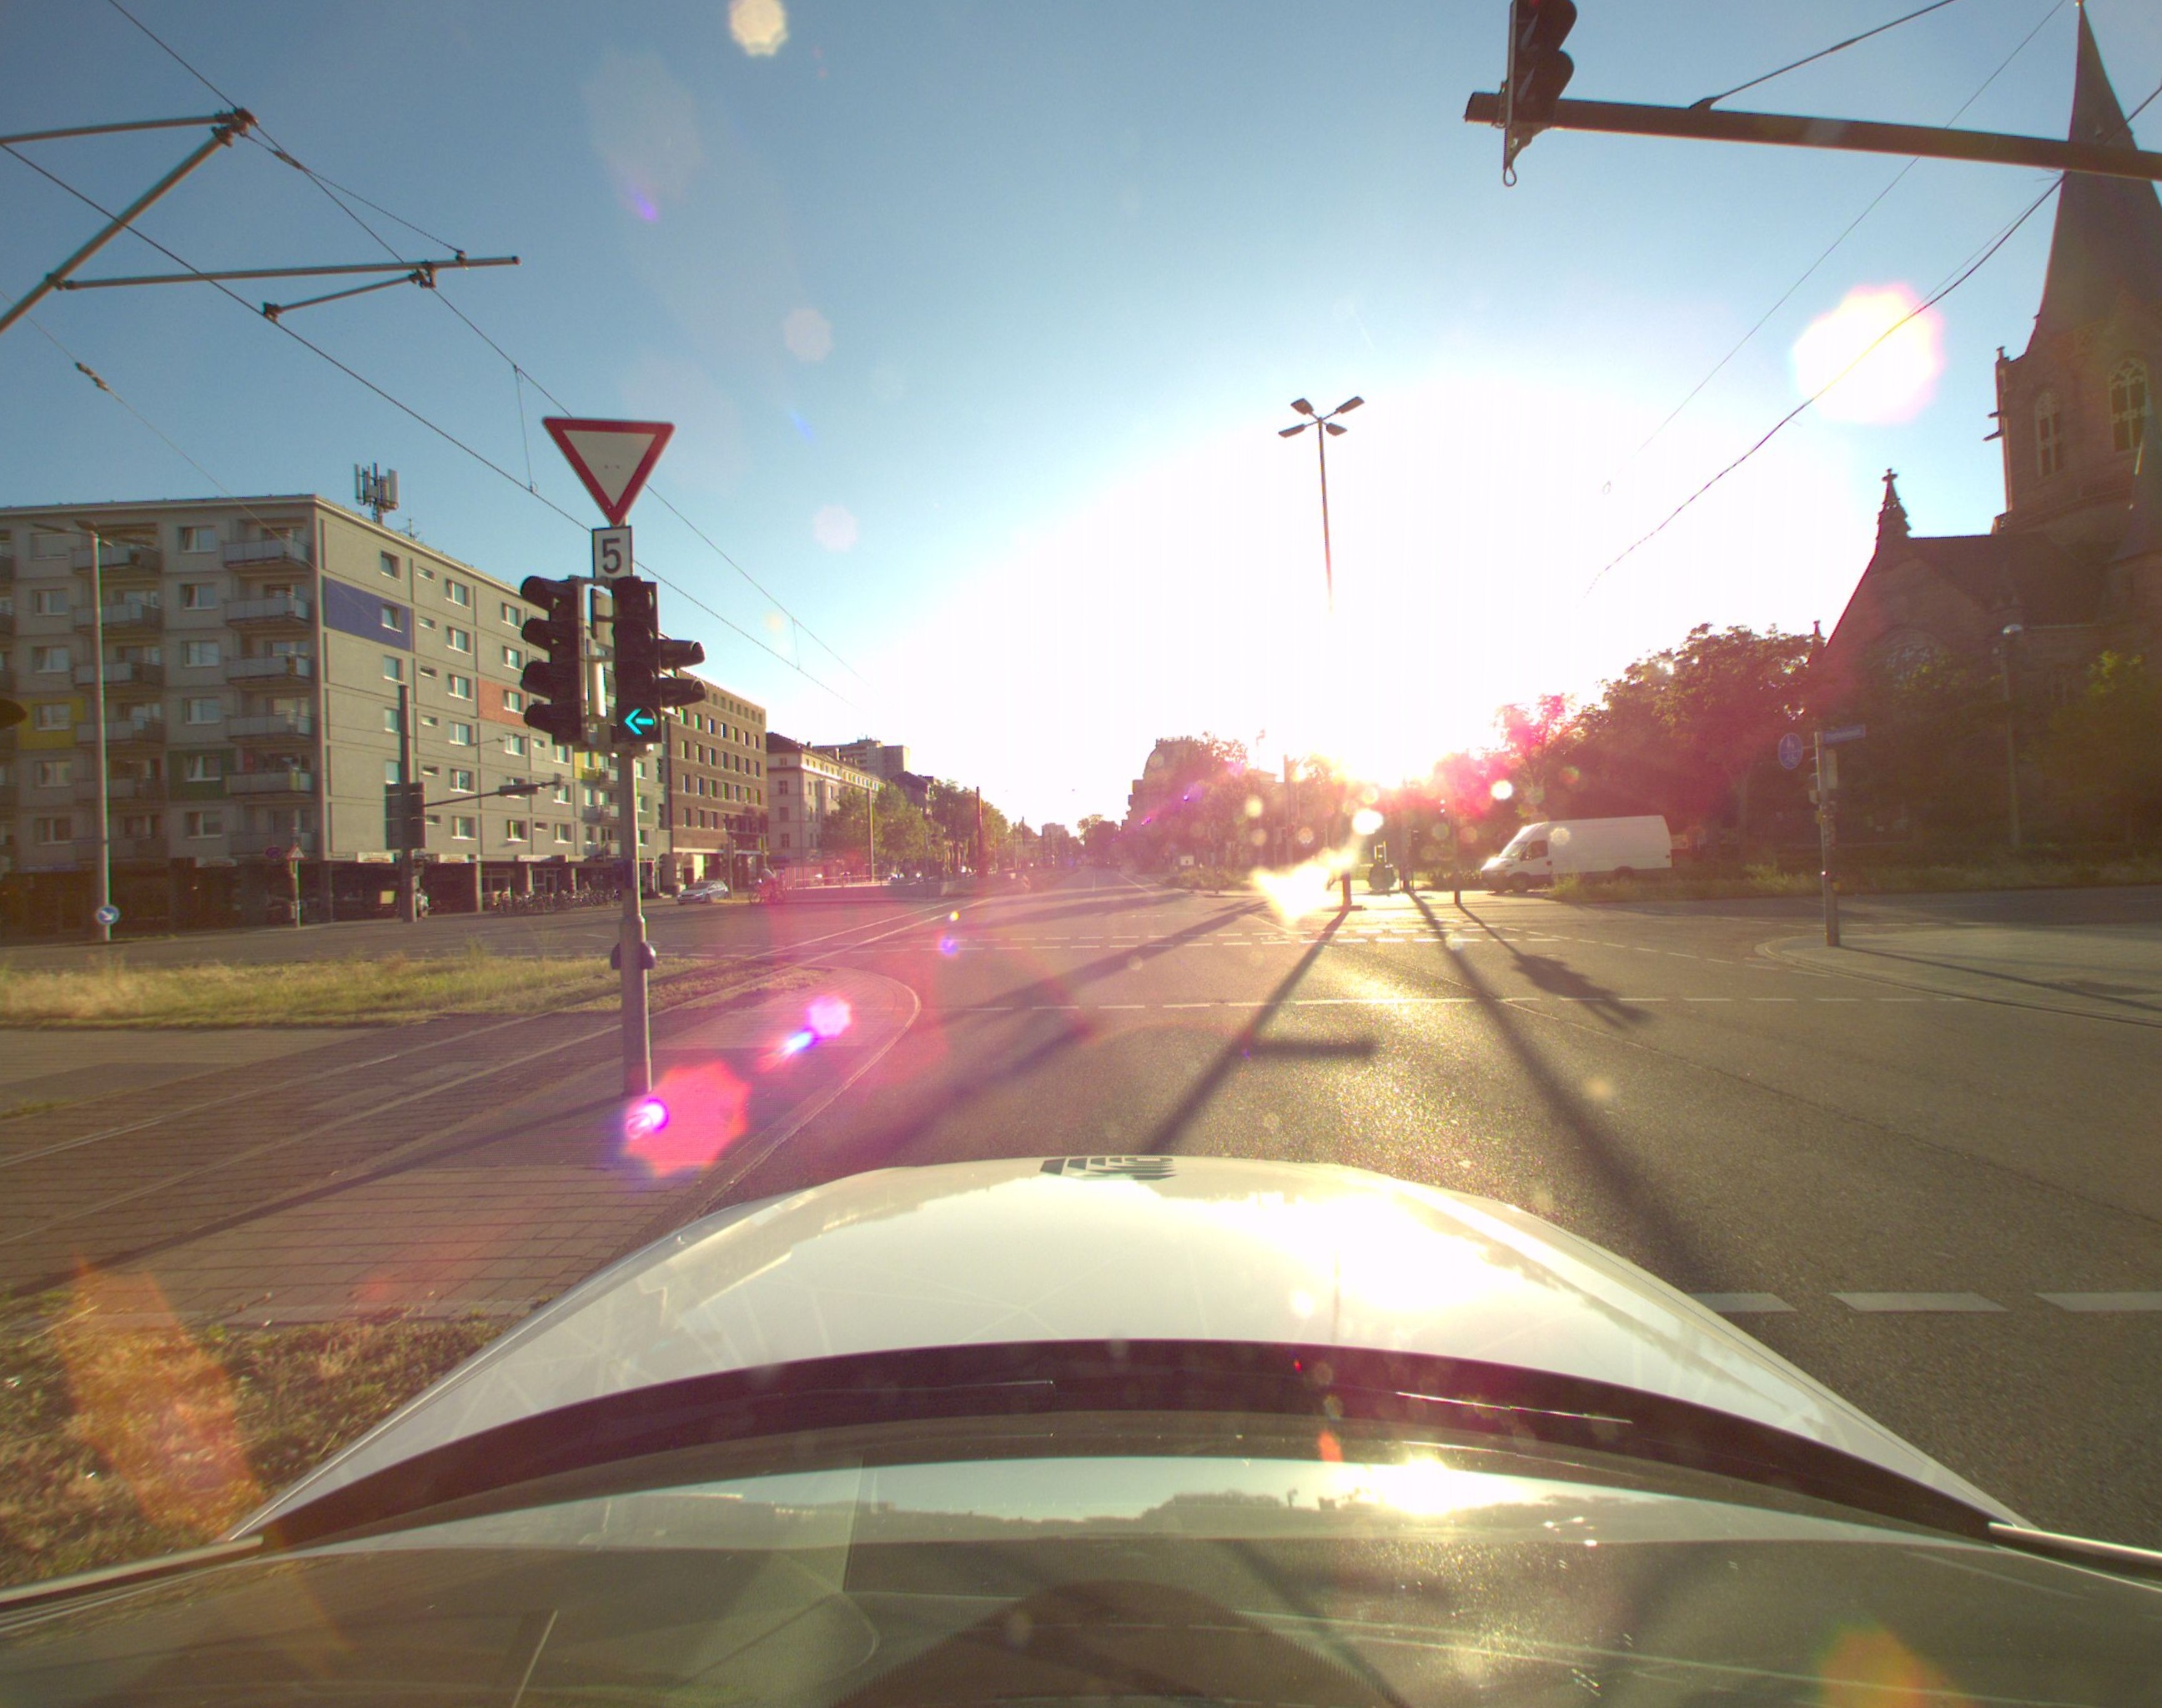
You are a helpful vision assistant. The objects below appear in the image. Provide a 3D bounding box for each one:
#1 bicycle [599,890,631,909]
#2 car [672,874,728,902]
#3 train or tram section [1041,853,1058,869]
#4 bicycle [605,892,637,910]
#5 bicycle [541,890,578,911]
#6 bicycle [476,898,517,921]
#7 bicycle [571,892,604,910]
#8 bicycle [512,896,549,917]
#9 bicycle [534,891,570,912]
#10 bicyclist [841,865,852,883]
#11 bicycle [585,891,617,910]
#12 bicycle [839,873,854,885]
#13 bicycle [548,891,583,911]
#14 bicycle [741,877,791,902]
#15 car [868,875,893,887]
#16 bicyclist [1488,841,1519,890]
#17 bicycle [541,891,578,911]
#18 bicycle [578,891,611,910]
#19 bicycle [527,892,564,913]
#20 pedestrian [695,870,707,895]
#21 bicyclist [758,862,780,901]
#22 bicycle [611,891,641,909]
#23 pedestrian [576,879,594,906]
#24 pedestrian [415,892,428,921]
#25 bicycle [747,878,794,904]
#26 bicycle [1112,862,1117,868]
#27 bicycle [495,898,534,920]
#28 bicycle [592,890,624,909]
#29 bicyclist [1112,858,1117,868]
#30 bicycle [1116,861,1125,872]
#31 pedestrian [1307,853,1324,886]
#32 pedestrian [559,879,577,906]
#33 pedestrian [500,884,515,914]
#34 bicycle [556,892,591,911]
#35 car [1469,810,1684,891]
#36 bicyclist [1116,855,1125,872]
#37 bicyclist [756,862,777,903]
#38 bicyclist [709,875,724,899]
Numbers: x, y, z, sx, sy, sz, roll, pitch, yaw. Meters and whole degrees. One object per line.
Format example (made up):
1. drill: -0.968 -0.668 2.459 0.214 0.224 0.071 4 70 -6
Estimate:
1. bicycle: -31.124 3.023 54.404 1.683 1.179 0.749 -2 -1 3
2. car: -24.346 2.134 52.187 1.684 1.618 3.999 -3 -1 0
3. train or tram section: -8.467 1.894 217.462 4.376 3.850 11.399 -2 -1 -2
4. bicycle: -31.167 3.170 55.181 1.683 1.170 0.749 -2 -1 3
5. bicycle: -31.446 2.806 49.070 1.782 1.191 0.652 -2 -1 1
6. bicycle: -32.726 3.087 45.604 1.788 1.208 0.638 -2 -1 0
7. bicycle: -31.324 2.983 51.740 1.748 1.117 0.552 -2 -1 2
8. bicycle: -31.934 3.049 47.256 1.750 1.139 0.600 -2 -1 2
9. bicycle: -31.432 2.821 48.418 1.763 1.182 0.568 -2 -1 1
10. bicyclist: -26.496 2.294 91.962 0.793 2.014 0.924 -2 -1 3
11. bicycle: -31.227 3.018 52.968 1.719 1.124 0.634 -2 -2 3
12. bicycle: -26.456 2.802 92.065 0.809 1.201 2.415 -2 -1 4
13. bicycle: -31.989 2.886 50.515 1.769 1.159 0.606 -2 -1 1
14. bicycle: -14.967 1.691 38.750 2.168 1.083 0.536 -2 -1 -16
15. car: -25.344 3.405 102.924 1.811 1.420 4.006 -2 -1 5
16. bicyclist: 17.752 0.466 34.217 0.894 2.014 0.723 -2 -1 6
17. bicycle: -31.926 2.864 49.861 1.824 1.160 0.640 -2 -1 1
18. bicycle: -31.282 2.987 52.326 1.754 1.119 0.568 -2 -1 2
19. bicycle: -31.446 2.841 47.823 1.759 1.168 0.540 -2 -1 1
20. pedestrian: -34.144 2.529 73.183 0.599 2.178 0.792 -2 -1 1
21. bicyclist: -14.862 1.299 38.793 0.878 1.818 0.535 -2 -1 -16
22. bicycle: -31.252 3.140 55.920 1.683 1.144 0.697 -2 -1 3
23. pedestrian: -34.608 2.664 56.797 0.785 1.841 0.733 -2 -1 -7
24. pedestrian: -33.119 2.627 40.892 0.383 1.383 0.392 -2 -1 -26
25. bicycle: -14.040 1.672 36.895 1.906 1.075 0.628 -2 -1 -18
26. bicycle: 6.842 2.299 165.549 0.921 1.111 2.334 -2 -1 2
27. bicycle: -32.399 3.143 46.598 1.770 1.142 0.608 -2 -1 1
28. bicycle: -31.153 2.975 53.654 1.683 1.153 0.706 -2 -1 3
29. bicyclist: 6.819 1.894 165.544 0.922 2.014 0.851 -2 -1 1
30. bicycle: 5.539 1.769 113.869 1.094 1.399 2.832 -2 -1 2
31. pedestrian: 13.148 0.853 45.738 0.826 1.803 0.814 -2 -1 17
32. pedestrian: -35.708 2.674 56.708 0.826 1.813 0.718 -2 -1 -9
33. pedestrian: -33.232 2.591 47.199 0.581 1.684 0.543 -2 -1 -19
34. bicycle: -31.900 2.988 51.189 1.764 1.136 0.606 -2 -1 2
35. car: 19.324 -0.123 32.021 6.981 2.828 2.094 -2 -1 3
36. bicyclist: 5.501 1.346 113.890 1.078 2.276 0.986 -2 -1 1
37. bicyclist: -14.220 1.296 36.836 0.795 1.818 0.642 -2 -1 -19
38. bicyclist: -27.701 2.488 61.878 0.697 1.743 0.794 -2 -1 13
